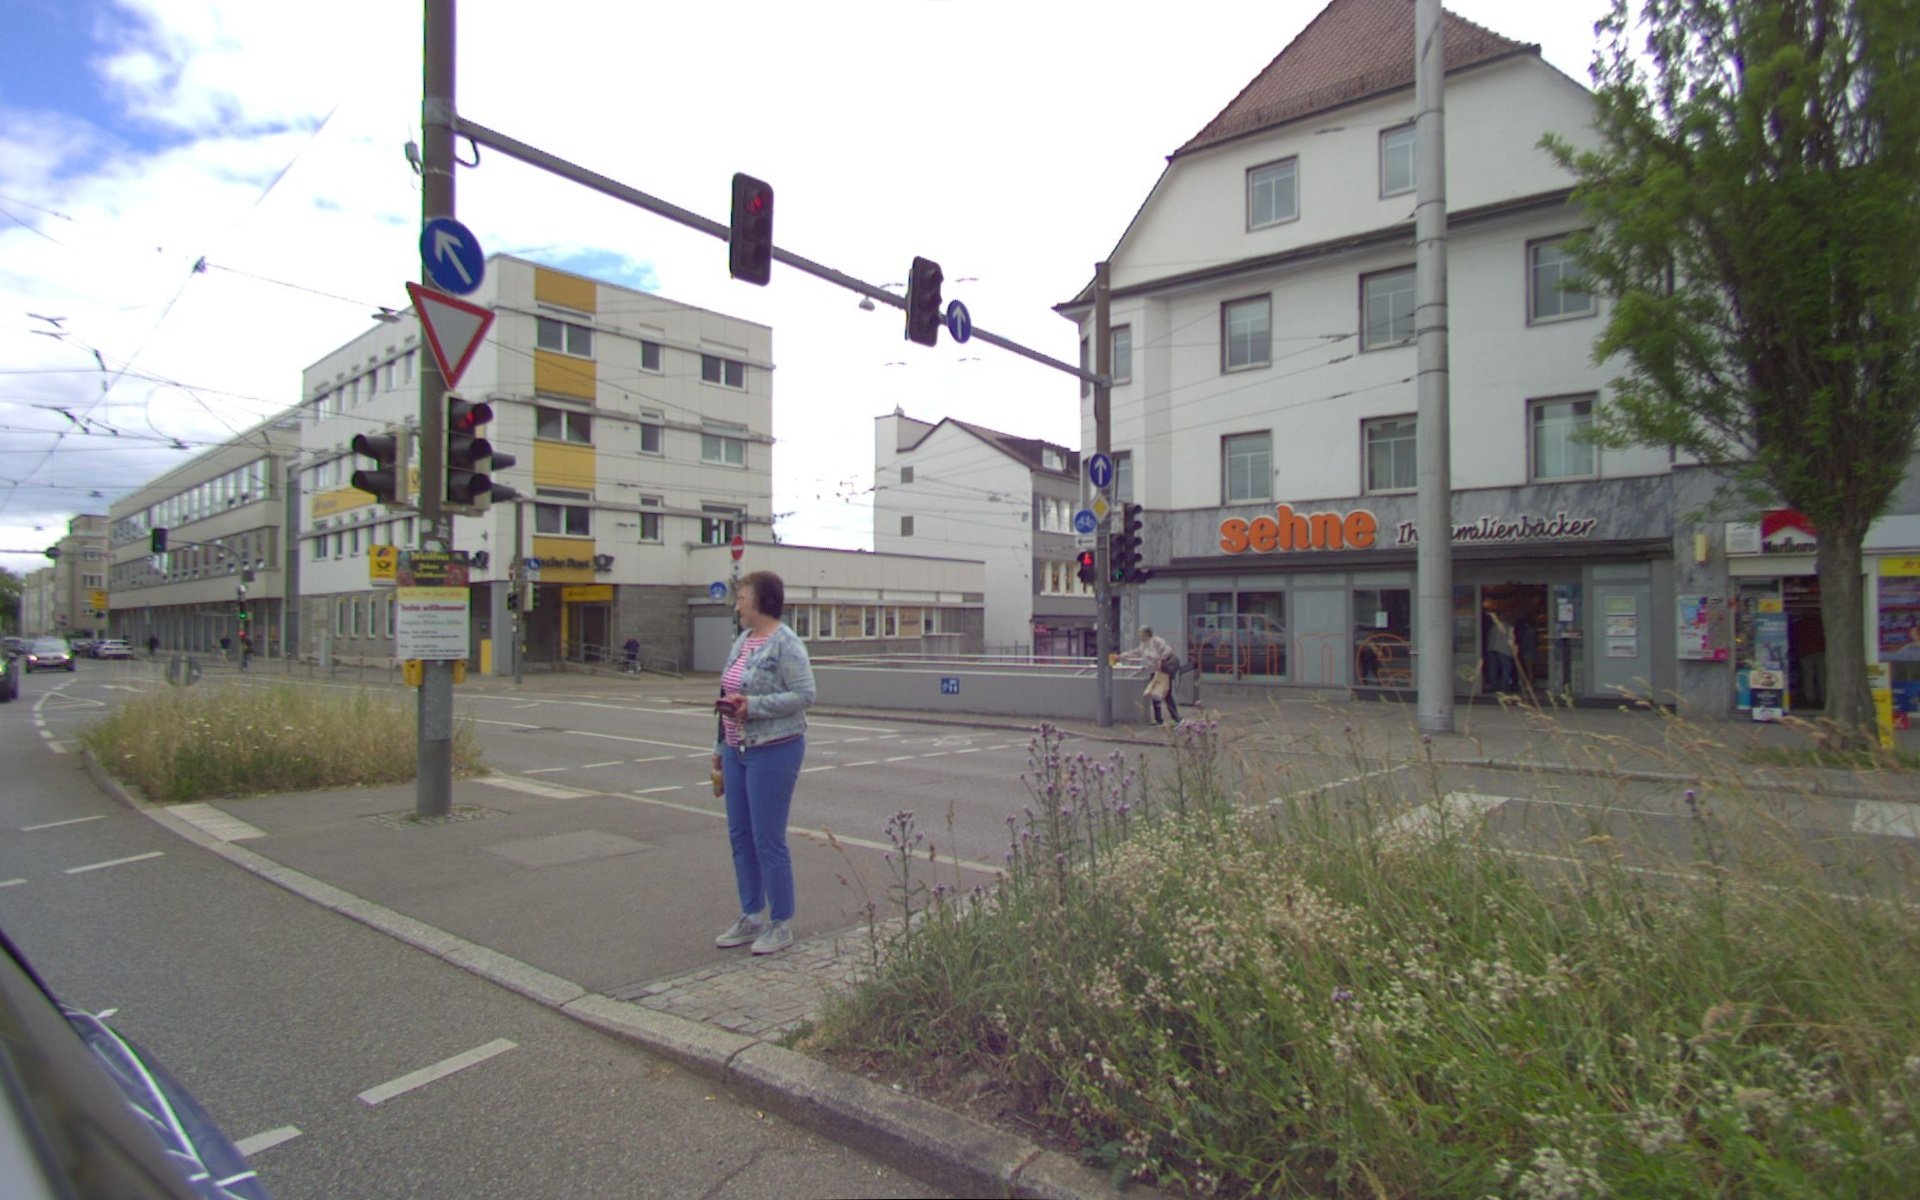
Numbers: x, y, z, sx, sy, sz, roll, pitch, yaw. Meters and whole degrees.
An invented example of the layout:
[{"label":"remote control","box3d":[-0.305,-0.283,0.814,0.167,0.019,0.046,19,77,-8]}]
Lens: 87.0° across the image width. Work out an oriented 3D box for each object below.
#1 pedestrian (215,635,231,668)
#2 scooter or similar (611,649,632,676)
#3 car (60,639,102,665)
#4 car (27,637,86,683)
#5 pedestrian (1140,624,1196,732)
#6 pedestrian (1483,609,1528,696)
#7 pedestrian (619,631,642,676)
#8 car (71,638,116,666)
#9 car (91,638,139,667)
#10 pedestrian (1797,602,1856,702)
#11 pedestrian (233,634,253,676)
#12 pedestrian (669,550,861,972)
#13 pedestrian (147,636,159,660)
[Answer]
[{"label":"pedestrian","box3d":[-41.594,2.887,57.097,0.526,1.816,0.580,-3,0,42]},{"label":"scooter or similar","box3d":[-12.645,2.311,37.795,0.617,0.984,0.501,-2,-2,40]},{"label":"car","box3d":[-70.984,4.171,81.685,4.484,2.029,1.973,-2,-2,41]},{"label":"car","box3d":[-42.618,2.782,47.722,1.970,2.029,4.491,0,-2,-43]},{"label":"pedestrian","box3d":[3.335,1.241,16.224,0.613,1.647,0.694,-3,0,32]},{"label":"pedestrian","box3d":[10.650,1.012,19.763,0.587,1.647,0.607,-3,0,40]},{"label":"pedestrian","box3d":[-12.183,1.960,37.382,0.615,1.647,0.580,-3,-3,42]},{"label":"car","box3d":[-66.642,3.996,77.782,4.484,2.029,1.973,-2,-2,41]},{"label":"car","box3d":[-61.759,3.817,73.960,4.484,2.029,1.973,-2,-2,41]},{"label":"pedestrian","box3d":[14.801,0.883,17.295,0.585,1.647,0.609,-3,0,29]},{"label":"pedestrian","box3d":[-32.330,2.472,45.655,0.526,1.816,0.580,-3,0,42]},{"label":"pedestrian","box3d":[-0.845,0.639,4.370,0.662,1.647,0.498,-2,-3,36]},{"label":"pedestrian","box3d":[-62.443,3.695,78.307,0.526,1.816,0.580,-3,0,42]}]
